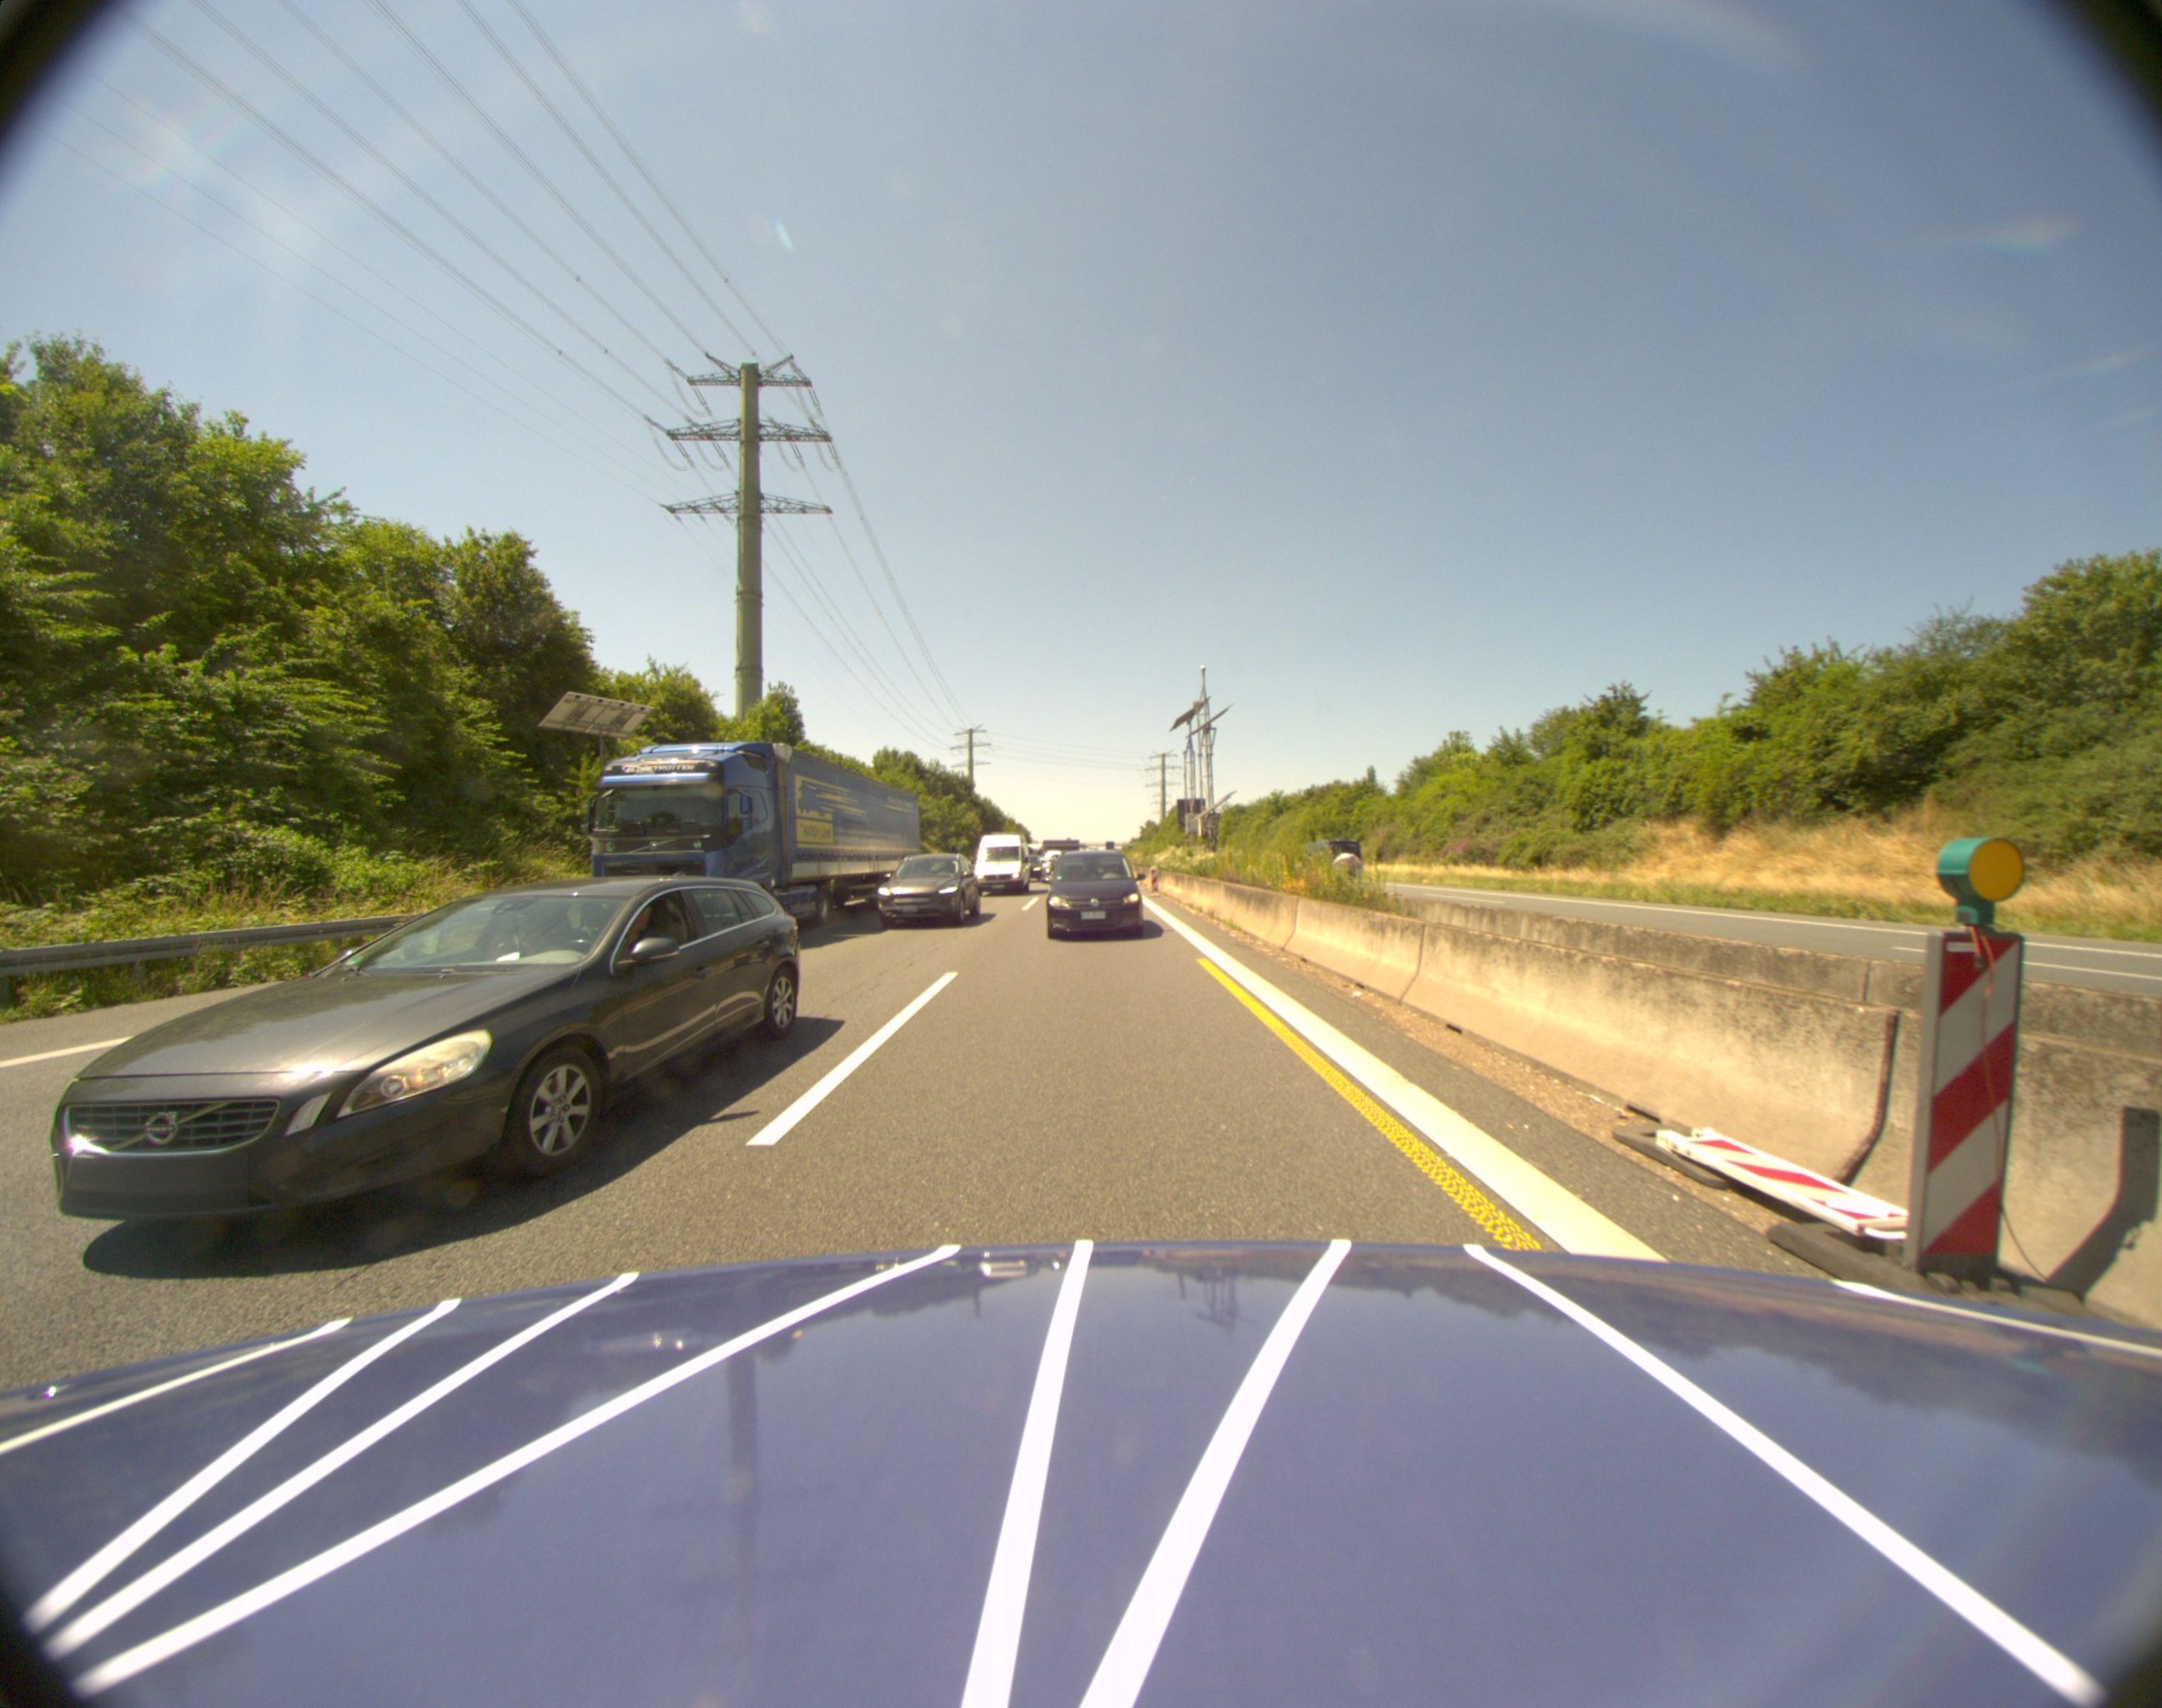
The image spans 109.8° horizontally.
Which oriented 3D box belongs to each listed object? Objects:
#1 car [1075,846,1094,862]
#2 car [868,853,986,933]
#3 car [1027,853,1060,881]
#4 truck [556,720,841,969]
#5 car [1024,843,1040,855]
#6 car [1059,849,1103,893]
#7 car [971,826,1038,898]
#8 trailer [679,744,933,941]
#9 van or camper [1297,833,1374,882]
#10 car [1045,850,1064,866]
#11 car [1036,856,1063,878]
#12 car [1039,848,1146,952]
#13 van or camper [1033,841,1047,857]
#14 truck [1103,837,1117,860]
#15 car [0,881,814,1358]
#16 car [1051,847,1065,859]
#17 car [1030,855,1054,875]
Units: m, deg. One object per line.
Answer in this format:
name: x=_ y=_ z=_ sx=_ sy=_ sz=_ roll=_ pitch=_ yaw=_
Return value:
car: x=0.441 y=-0.062 z=85.816 sx=1.973 sy=1.682 sz=3.874 roll=-2 pitch=1 yaw=1
car: x=-3.580 y=0.838 z=18.471 sx=1.893 sy=1.602 sz=4.219 roll=-2 pitch=1 yaw=1
car: x=-2.272 y=0.780 z=47.236 sx=1.720 sy=1.510 sz=3.874 roll=-2 pitch=1 yaw=1
truck: x=-7.397 y=-0.182 z=15.745 sx=2.792 sy=4.121 sz=5.636 roll=-2 pitch=1 yaw=1
car: x=-6.286 y=-0.641 z=97.409 sx=1.720 sy=1.510 sz=3.874 roll=-2 pitch=1 yaw=1
car: x=0.021 y=0.674 z=32.455 sx=1.700 sy=1.641 sz=4.219 roll=-2 pitch=1 yaw=1
car: x=-3.172 y=0.272 z=32.856 sx=2.042 sy=2.703 sz=6.705 roll=-2 pitch=1 yaw=1
trailer: x=-7.311 y=-0.316 z=23.211 sx=2.774 sy=4.239 sz=12.877 roll=-2 pitch=1 yaw=1
van or camper: x=15.484 y=0.160 z=46.791 sx=2.228 sy=2.695 sz=7.079 roll=1 pitch=1 yaw=-1
car: x=-2.838 y=0.425 z=81.333 sx=1.720 sy=1.510 sz=3.874 roll=-2 pitch=1 yaw=1
car: x=-2.367 y=0.945 z=57.757 sx=1.720 sy=1.510 sz=3.874 roll=-2 pitch=1 yaw=1
car: x=0.217 y=0.747 z=14.702 sx=1.700 sy=1.641 sz=4.219 roll=-2 pitch=1 yaw=1
van or camper: x=-6.861 y=-0.866 z=127.756 sx=1.978 sy=2.511 sz=4.369 roll=-2 pitch=1 yaw=1
truck: x=4.325 y=-0.825 z=113.376 sx=1.892 sy=3.264 sz=5.590 roll=-2 pitch=1 yaw=1
car: x=-3.473 y=1.026 z=4.908 sx=1.799 sy=1.411 sz=4.509 roll=-2 pitch=1 yaw=1
car: x=-3.272 y=-0.155 z=107.642 sx=1.720 sy=1.510 sz=3.874 roll=-2 pitch=1 yaw=1
car: x=-3.271 y=0.883 z=64.543 sx=1.720 sy=1.510 sz=3.874 roll=-2 pitch=1 yaw=1
